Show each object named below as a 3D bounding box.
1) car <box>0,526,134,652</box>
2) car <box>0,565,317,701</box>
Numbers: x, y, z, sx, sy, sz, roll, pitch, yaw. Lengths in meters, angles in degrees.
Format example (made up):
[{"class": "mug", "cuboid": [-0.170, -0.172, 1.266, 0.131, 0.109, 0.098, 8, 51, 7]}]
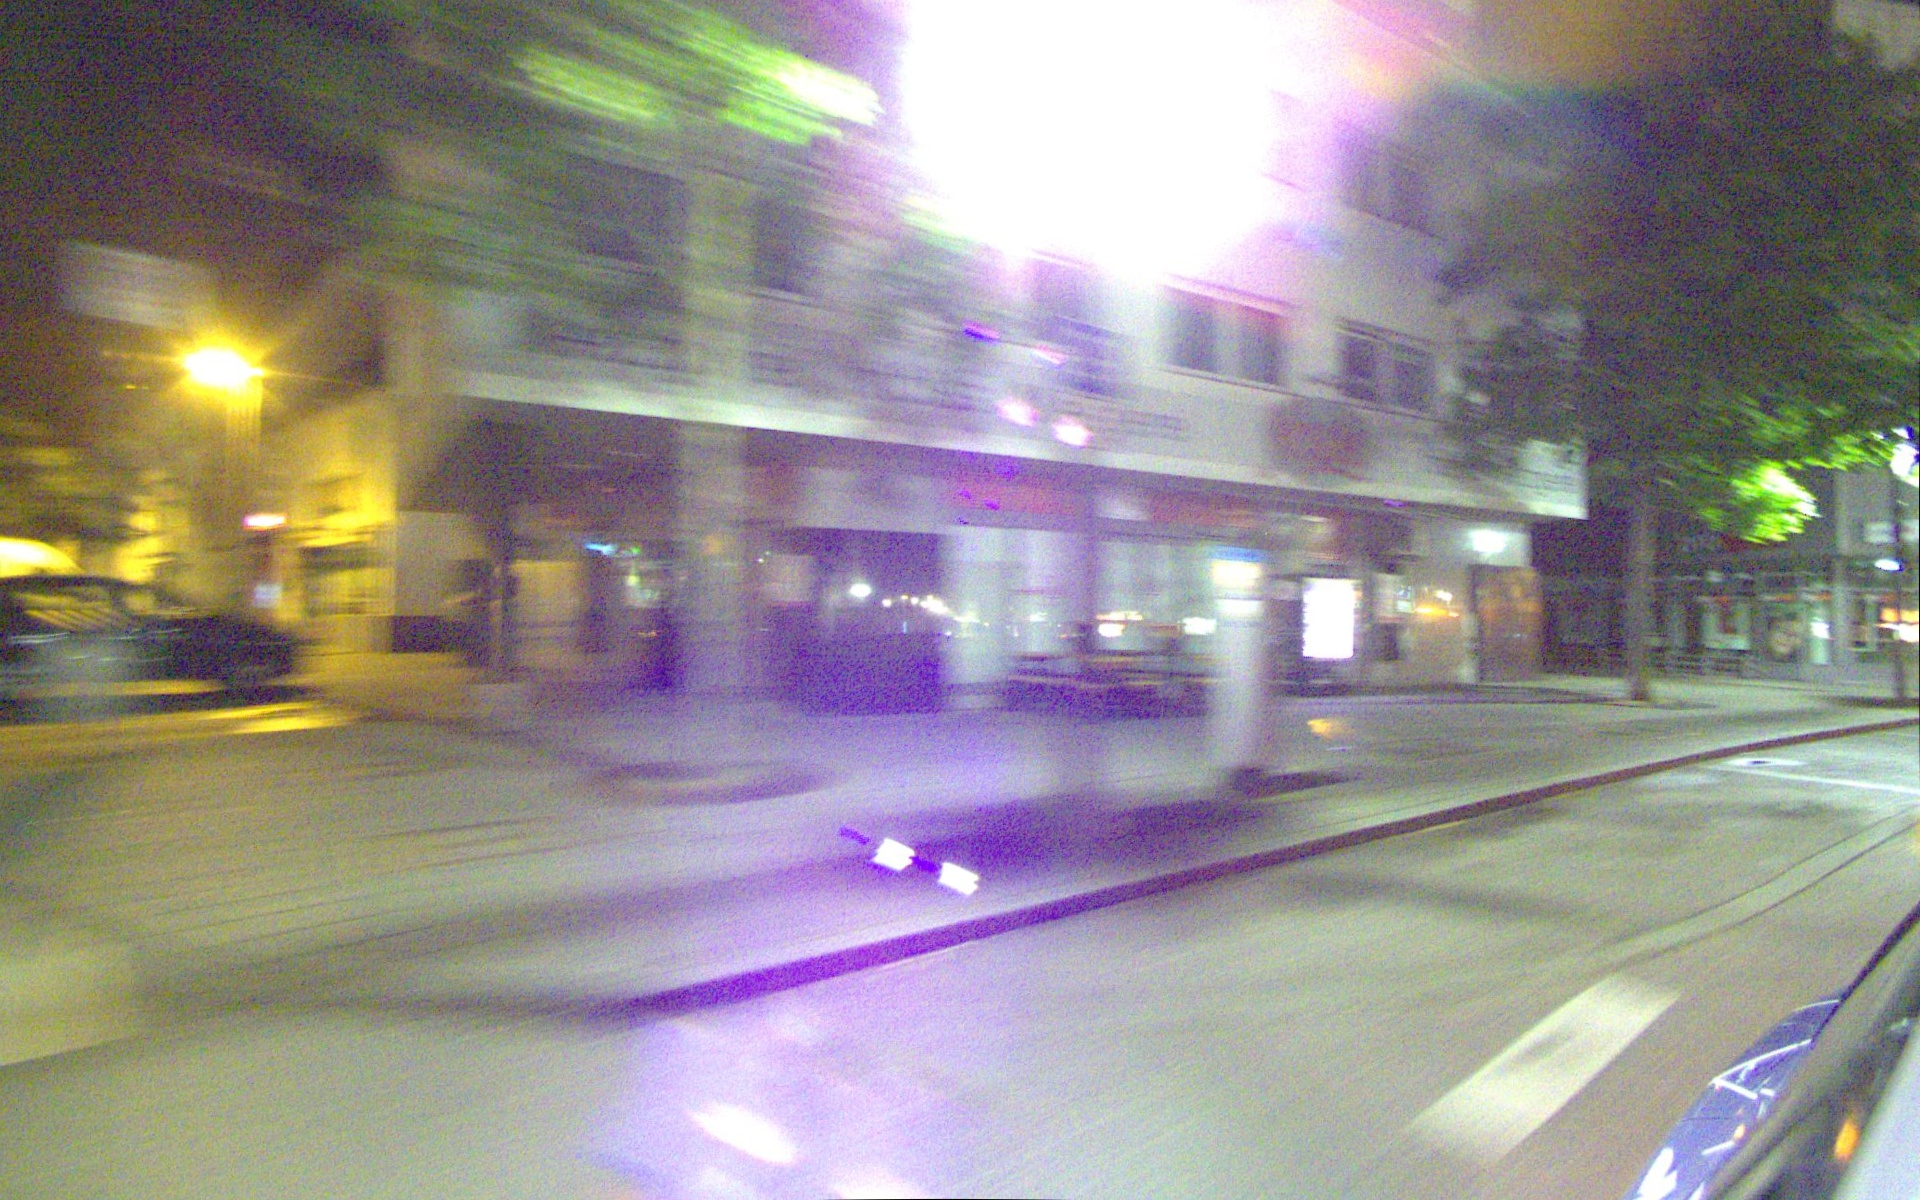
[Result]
[{"class": "car", "cuboid": [-21.790, -0.222, 21.888, 2.520, 2.682, 5.652, -1, -2, 37]}, {"class": "car", "cuboid": [-11.742, 0.444, 14.156, 1.992, 1.682, 4.271, -1, -2, 43]}]
